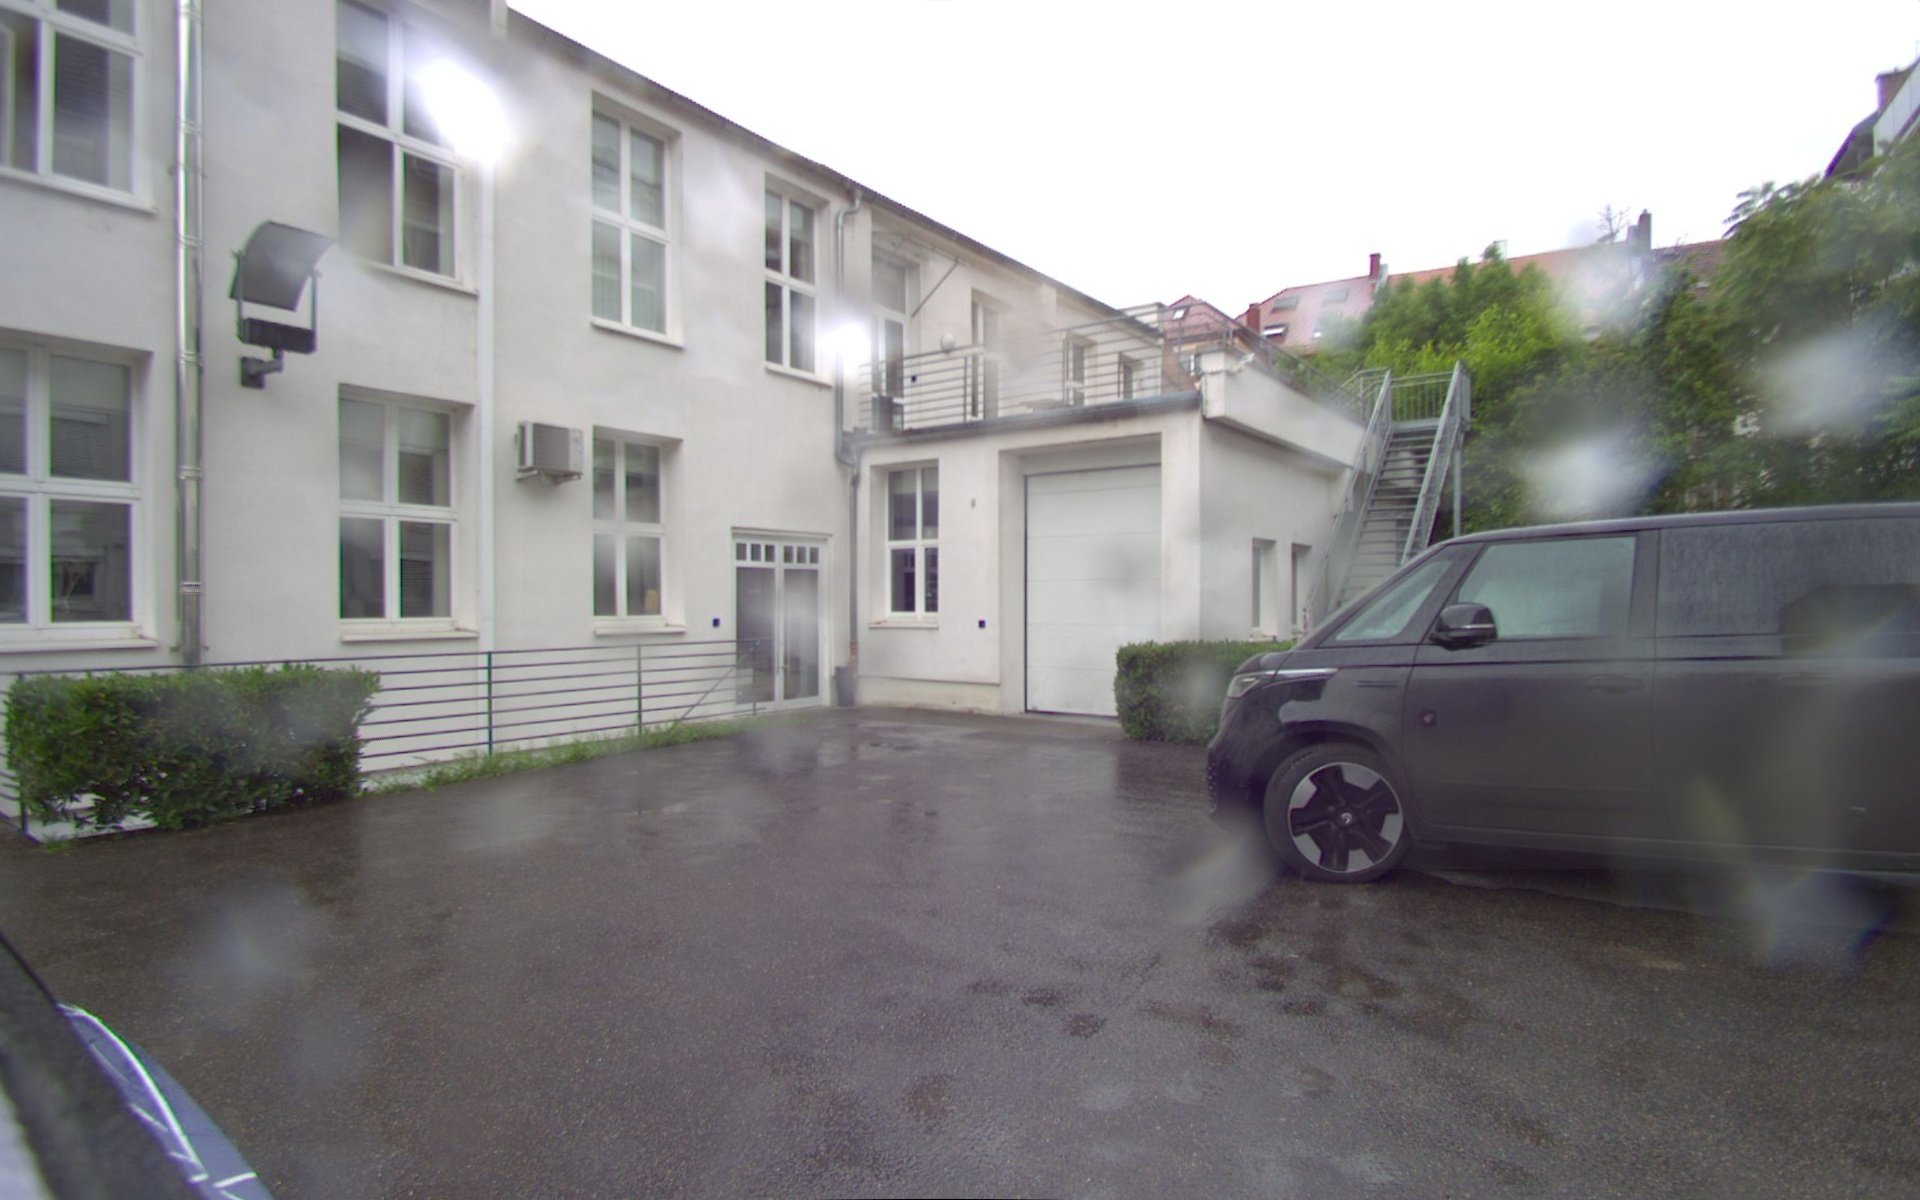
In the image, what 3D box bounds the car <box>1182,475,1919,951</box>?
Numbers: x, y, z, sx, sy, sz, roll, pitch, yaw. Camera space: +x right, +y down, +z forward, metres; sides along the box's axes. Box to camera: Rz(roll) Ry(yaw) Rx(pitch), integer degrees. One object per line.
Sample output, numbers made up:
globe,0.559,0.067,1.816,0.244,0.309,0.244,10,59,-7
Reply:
car,3.659,0.481,5.334,4.501,1.912,2.027,-1,-1,28
